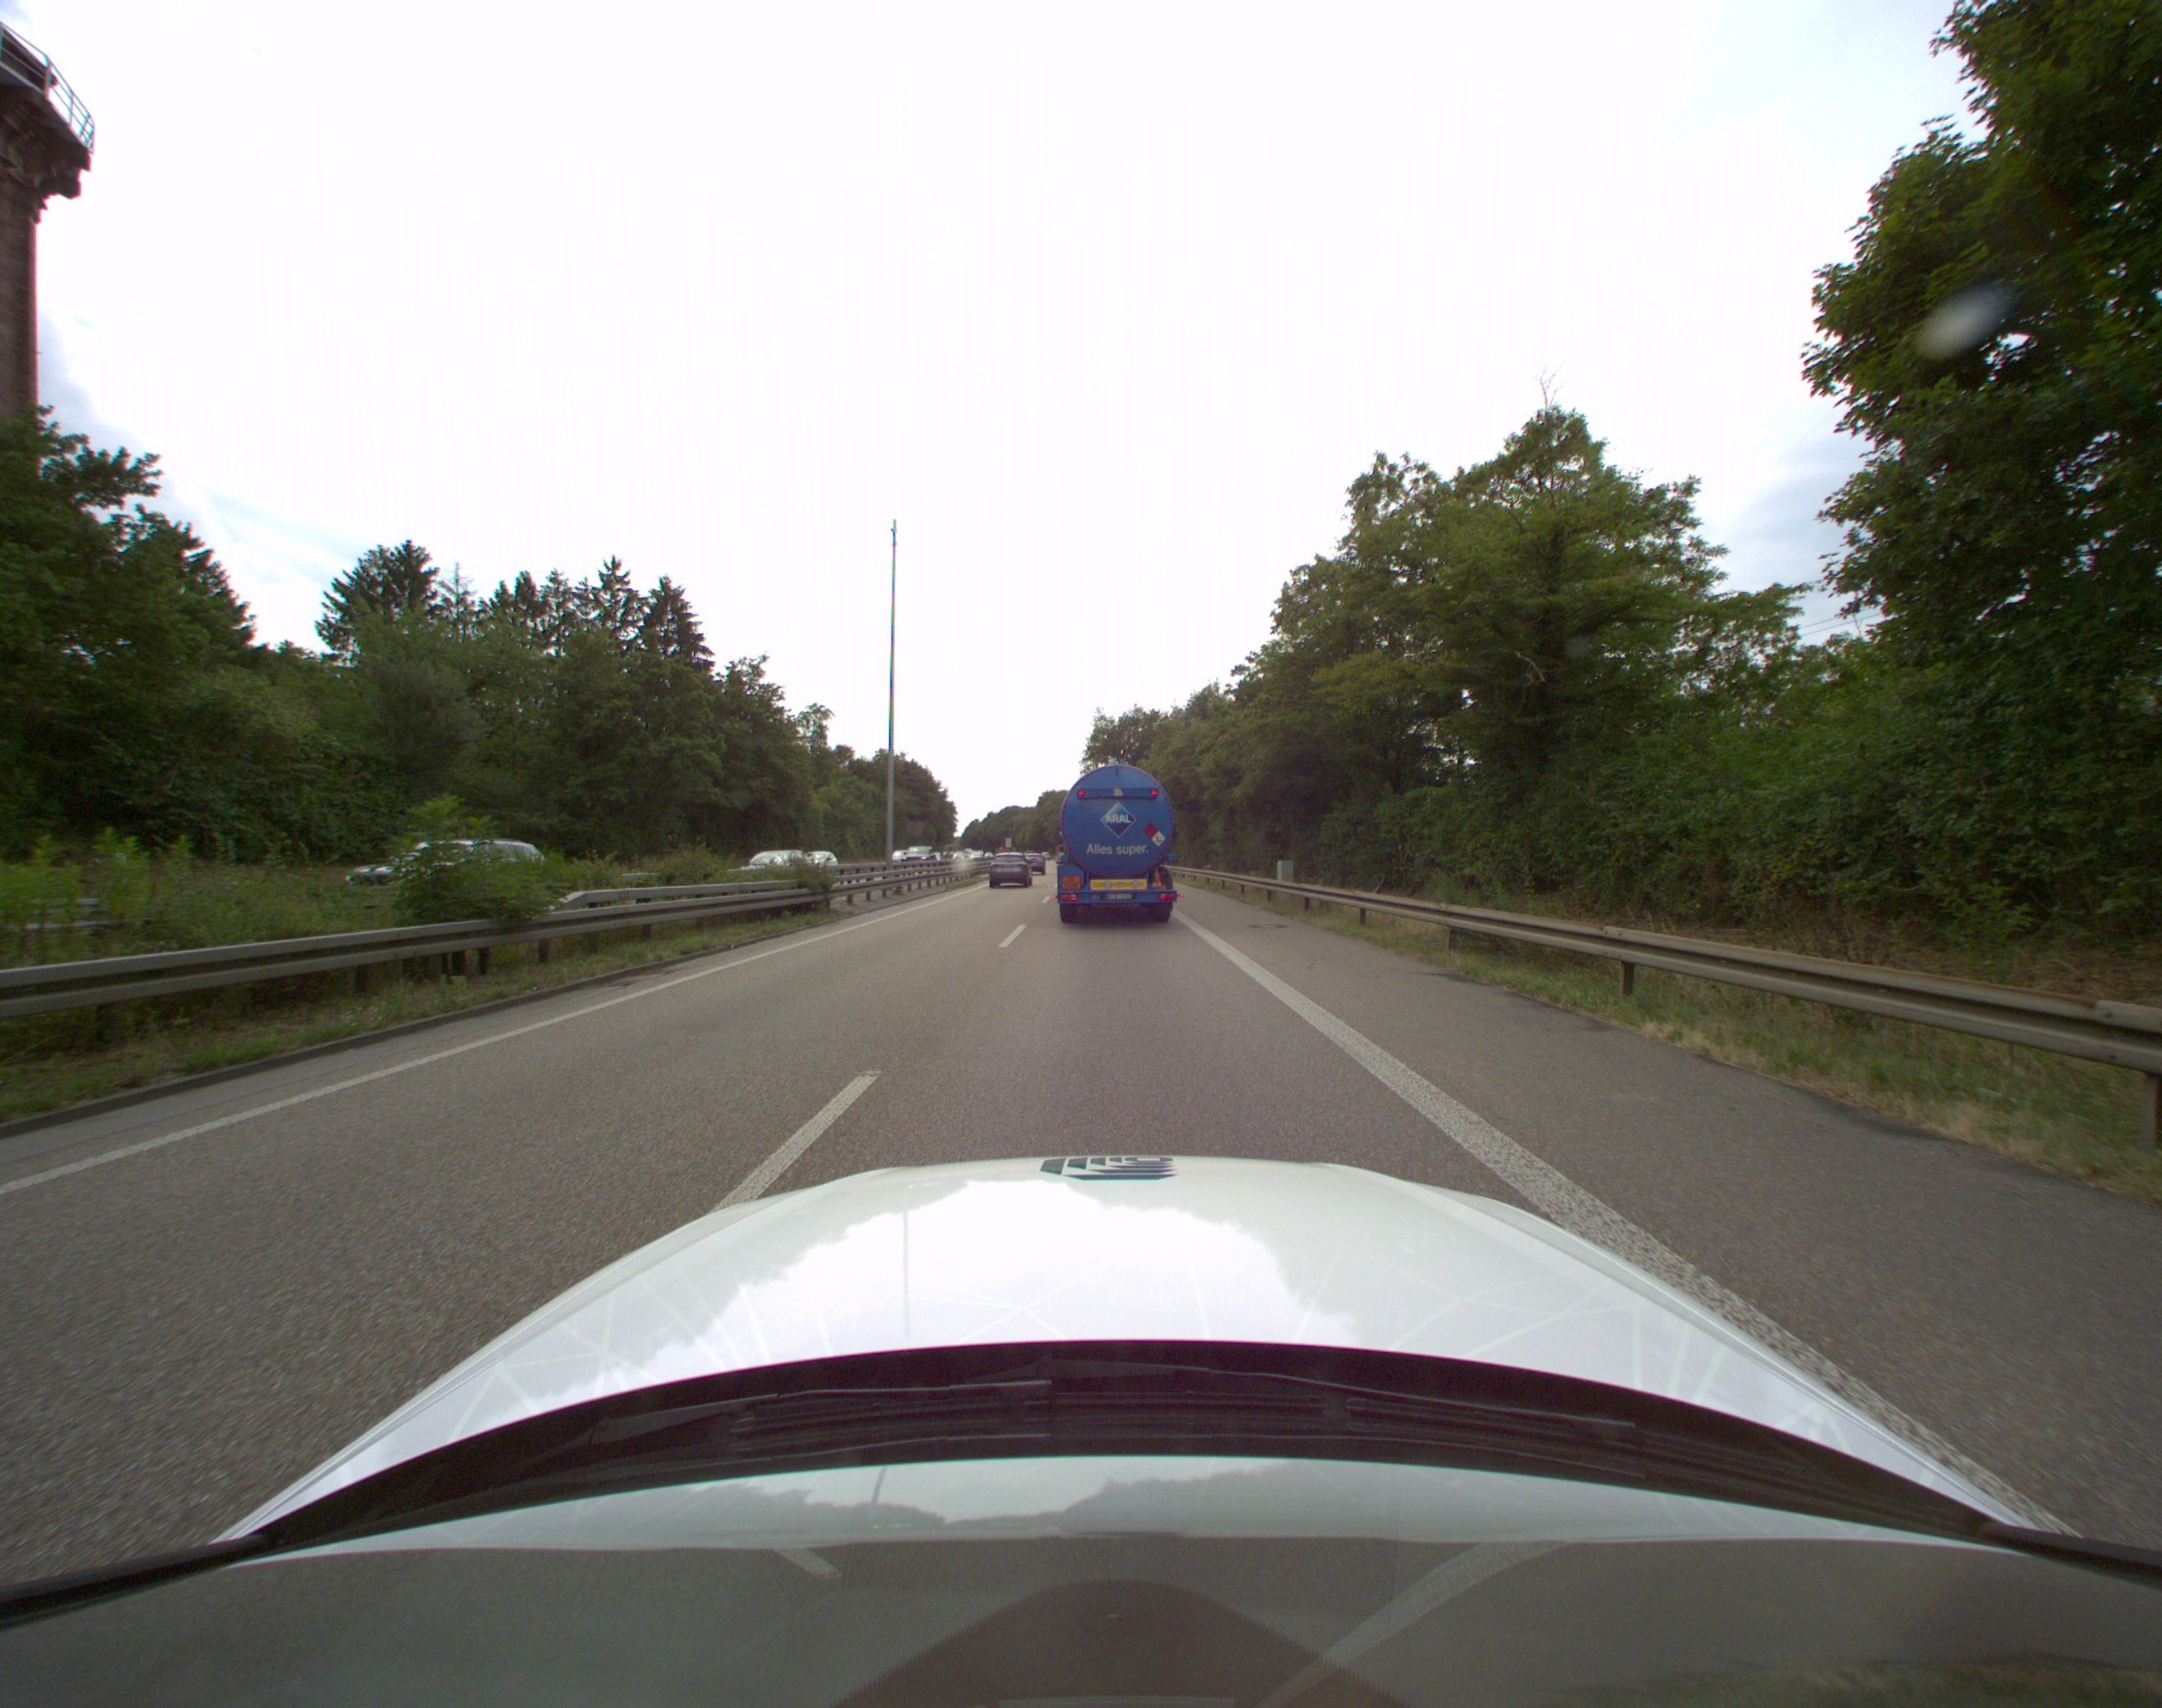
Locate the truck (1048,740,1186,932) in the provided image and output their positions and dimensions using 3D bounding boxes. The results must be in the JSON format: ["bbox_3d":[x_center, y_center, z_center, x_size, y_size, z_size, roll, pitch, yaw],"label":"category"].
[{"bbox_3d":[0.739,-0.335,20.323,2.746,3.847,7.687,-1,0,0],"label":"truck"}]

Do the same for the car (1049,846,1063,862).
[{"bbox_3d":[-3.591,0.020,118.622,1.988,2.244,3.997,-1,0,-2],"label":"car"}]

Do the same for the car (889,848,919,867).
[{"bbox_3d":[-15.183,0.302,69.961,1.725,1.601,4.130,-1,0,-1],"label":"car"}]

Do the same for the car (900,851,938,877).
[{"bbox_3d":[-11.709,0.723,59.263,1.786,1.836,4.955,-1,0,-1],"label":"car"}]

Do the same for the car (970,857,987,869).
[{"bbox_3d":[-13.349,1.149,105.885,1.707,1.427,4.055,-1,0,-1],"label":"car"}]

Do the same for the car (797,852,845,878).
[{"bbox_3d":[-15.464,0.648,48.555,1.623,1.508,3.728,-1,0,1],"label":"car"}]

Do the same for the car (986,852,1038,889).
[{"bbox_3d":[-3.164,0.752,38.261,1.818,1.609,4.171,-1,0,3],"label":"car"}]

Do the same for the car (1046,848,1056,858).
[{"bbox_3d":[-6.427,-0.188,174.668,1.989,2.244,3.996,-1,0,-2],"label":"car"}]

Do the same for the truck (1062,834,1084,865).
[{"bbox_3d":[-0.865,-0.416,85.063,1.988,3.092,7.807,-1,0,-2],"label":"truck"}]

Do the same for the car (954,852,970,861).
[{"bbox_3d":[-17.306,0.406,118.676,1.973,1.300,4.064,-1,0,-2],"label":"car"}]

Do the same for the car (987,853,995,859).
[{"bbox_3d":[-21.315,0.499,192.964,1.650,1.278,4.709,1,0,-2],"label":"car"}]

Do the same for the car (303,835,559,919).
[{"bbox_3d":[-14.651,0.481,18.827,1.986,1.657,4.774,-1,0,1],"label":"car"}]

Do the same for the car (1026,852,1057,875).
[{"bbox_3d":[-2.855,0.665,59.366,1.818,1.609,4.171,-1,0,3],"label":"car"}]

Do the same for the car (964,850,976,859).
[{"bbox_3d":[-23.664,0.138,173.471,2.030,1.804,5.119,-1,0,-2],"label":"car"}]
